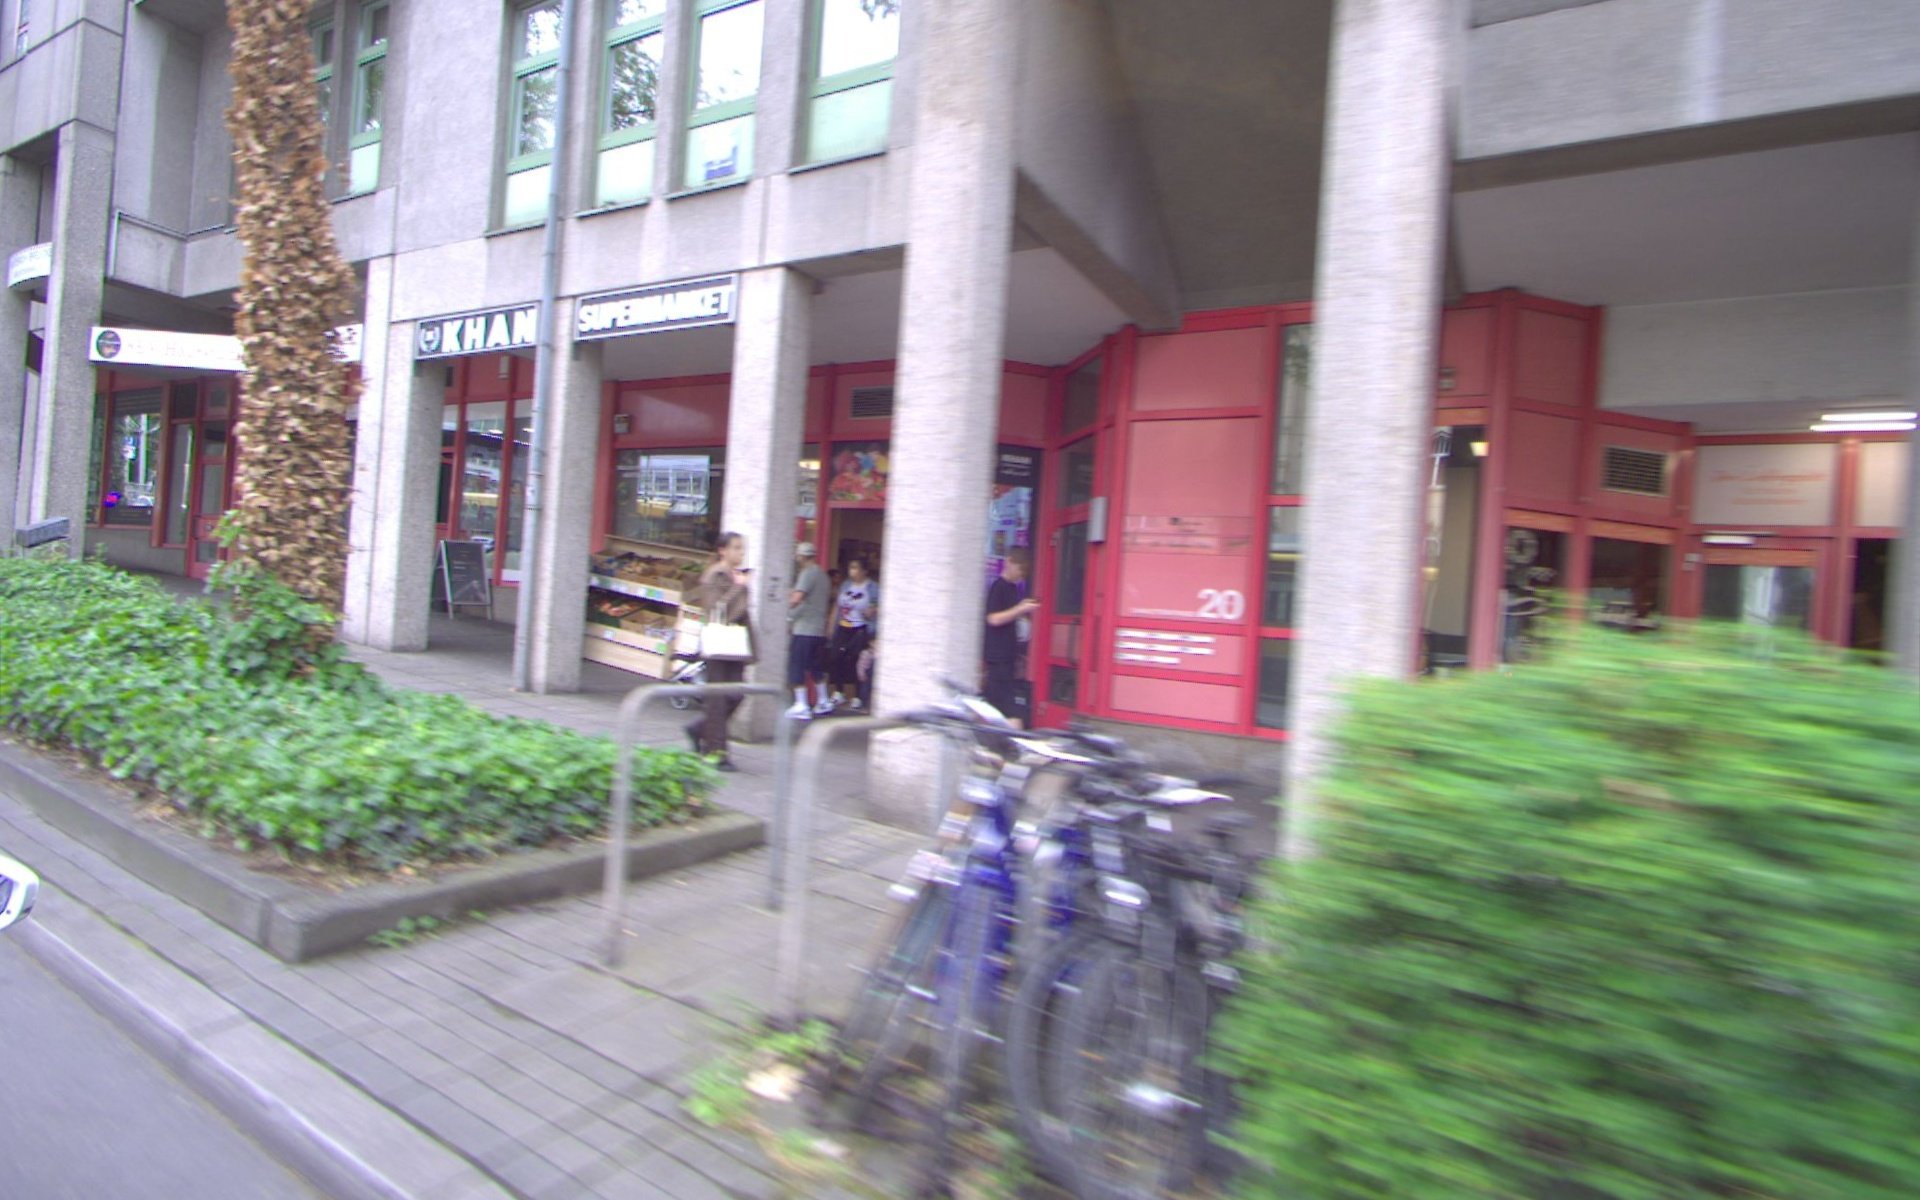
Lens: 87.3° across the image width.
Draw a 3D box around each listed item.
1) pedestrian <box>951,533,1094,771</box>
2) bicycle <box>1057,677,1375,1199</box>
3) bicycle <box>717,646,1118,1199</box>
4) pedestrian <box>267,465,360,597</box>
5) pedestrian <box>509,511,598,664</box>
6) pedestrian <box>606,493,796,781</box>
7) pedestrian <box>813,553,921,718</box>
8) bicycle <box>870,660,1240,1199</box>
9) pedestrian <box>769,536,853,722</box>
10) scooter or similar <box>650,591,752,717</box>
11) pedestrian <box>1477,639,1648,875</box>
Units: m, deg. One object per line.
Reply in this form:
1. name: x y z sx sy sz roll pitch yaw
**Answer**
1. pedestrian: 0.530 0.415 8.389 0.711 1.827 0.832 7 3 31
2. bicycle: 0.767 0.862 2.648 0.440 1.199 1.711 6 2 24
3. bicycle: 0.000 0.777 3.148 0.440 1.199 1.711 6 2 24
4. pedestrian: -9.637 -1.016 15.002 0.712 1.827 0.831 9 4 34
5. pedestrian: -4.649 -0.153 11.544 0.769 1.633 0.614 6 3 -22
6. pedestrian: -1.784 0.235 6.965 0.833 1.806 0.763 7 2 26
7. pedestrian: -0.994 0.371 10.759 0.752 1.633 0.616 9 3 35
8. bicycle: 0.396 0.819 2.905 0.440 1.199 1.711 6 2 24
9. pedestrian: -1.475 0.280 10.067 0.664 1.746 0.763 4 2 -4
10. scooter or similar: -2.533 0.510 9.822 0.845 1.124 0.762 5 1 -17
11. pedestrian: 4.056 0.999 6.866 0.743 1.382 1.057 7 2 25
